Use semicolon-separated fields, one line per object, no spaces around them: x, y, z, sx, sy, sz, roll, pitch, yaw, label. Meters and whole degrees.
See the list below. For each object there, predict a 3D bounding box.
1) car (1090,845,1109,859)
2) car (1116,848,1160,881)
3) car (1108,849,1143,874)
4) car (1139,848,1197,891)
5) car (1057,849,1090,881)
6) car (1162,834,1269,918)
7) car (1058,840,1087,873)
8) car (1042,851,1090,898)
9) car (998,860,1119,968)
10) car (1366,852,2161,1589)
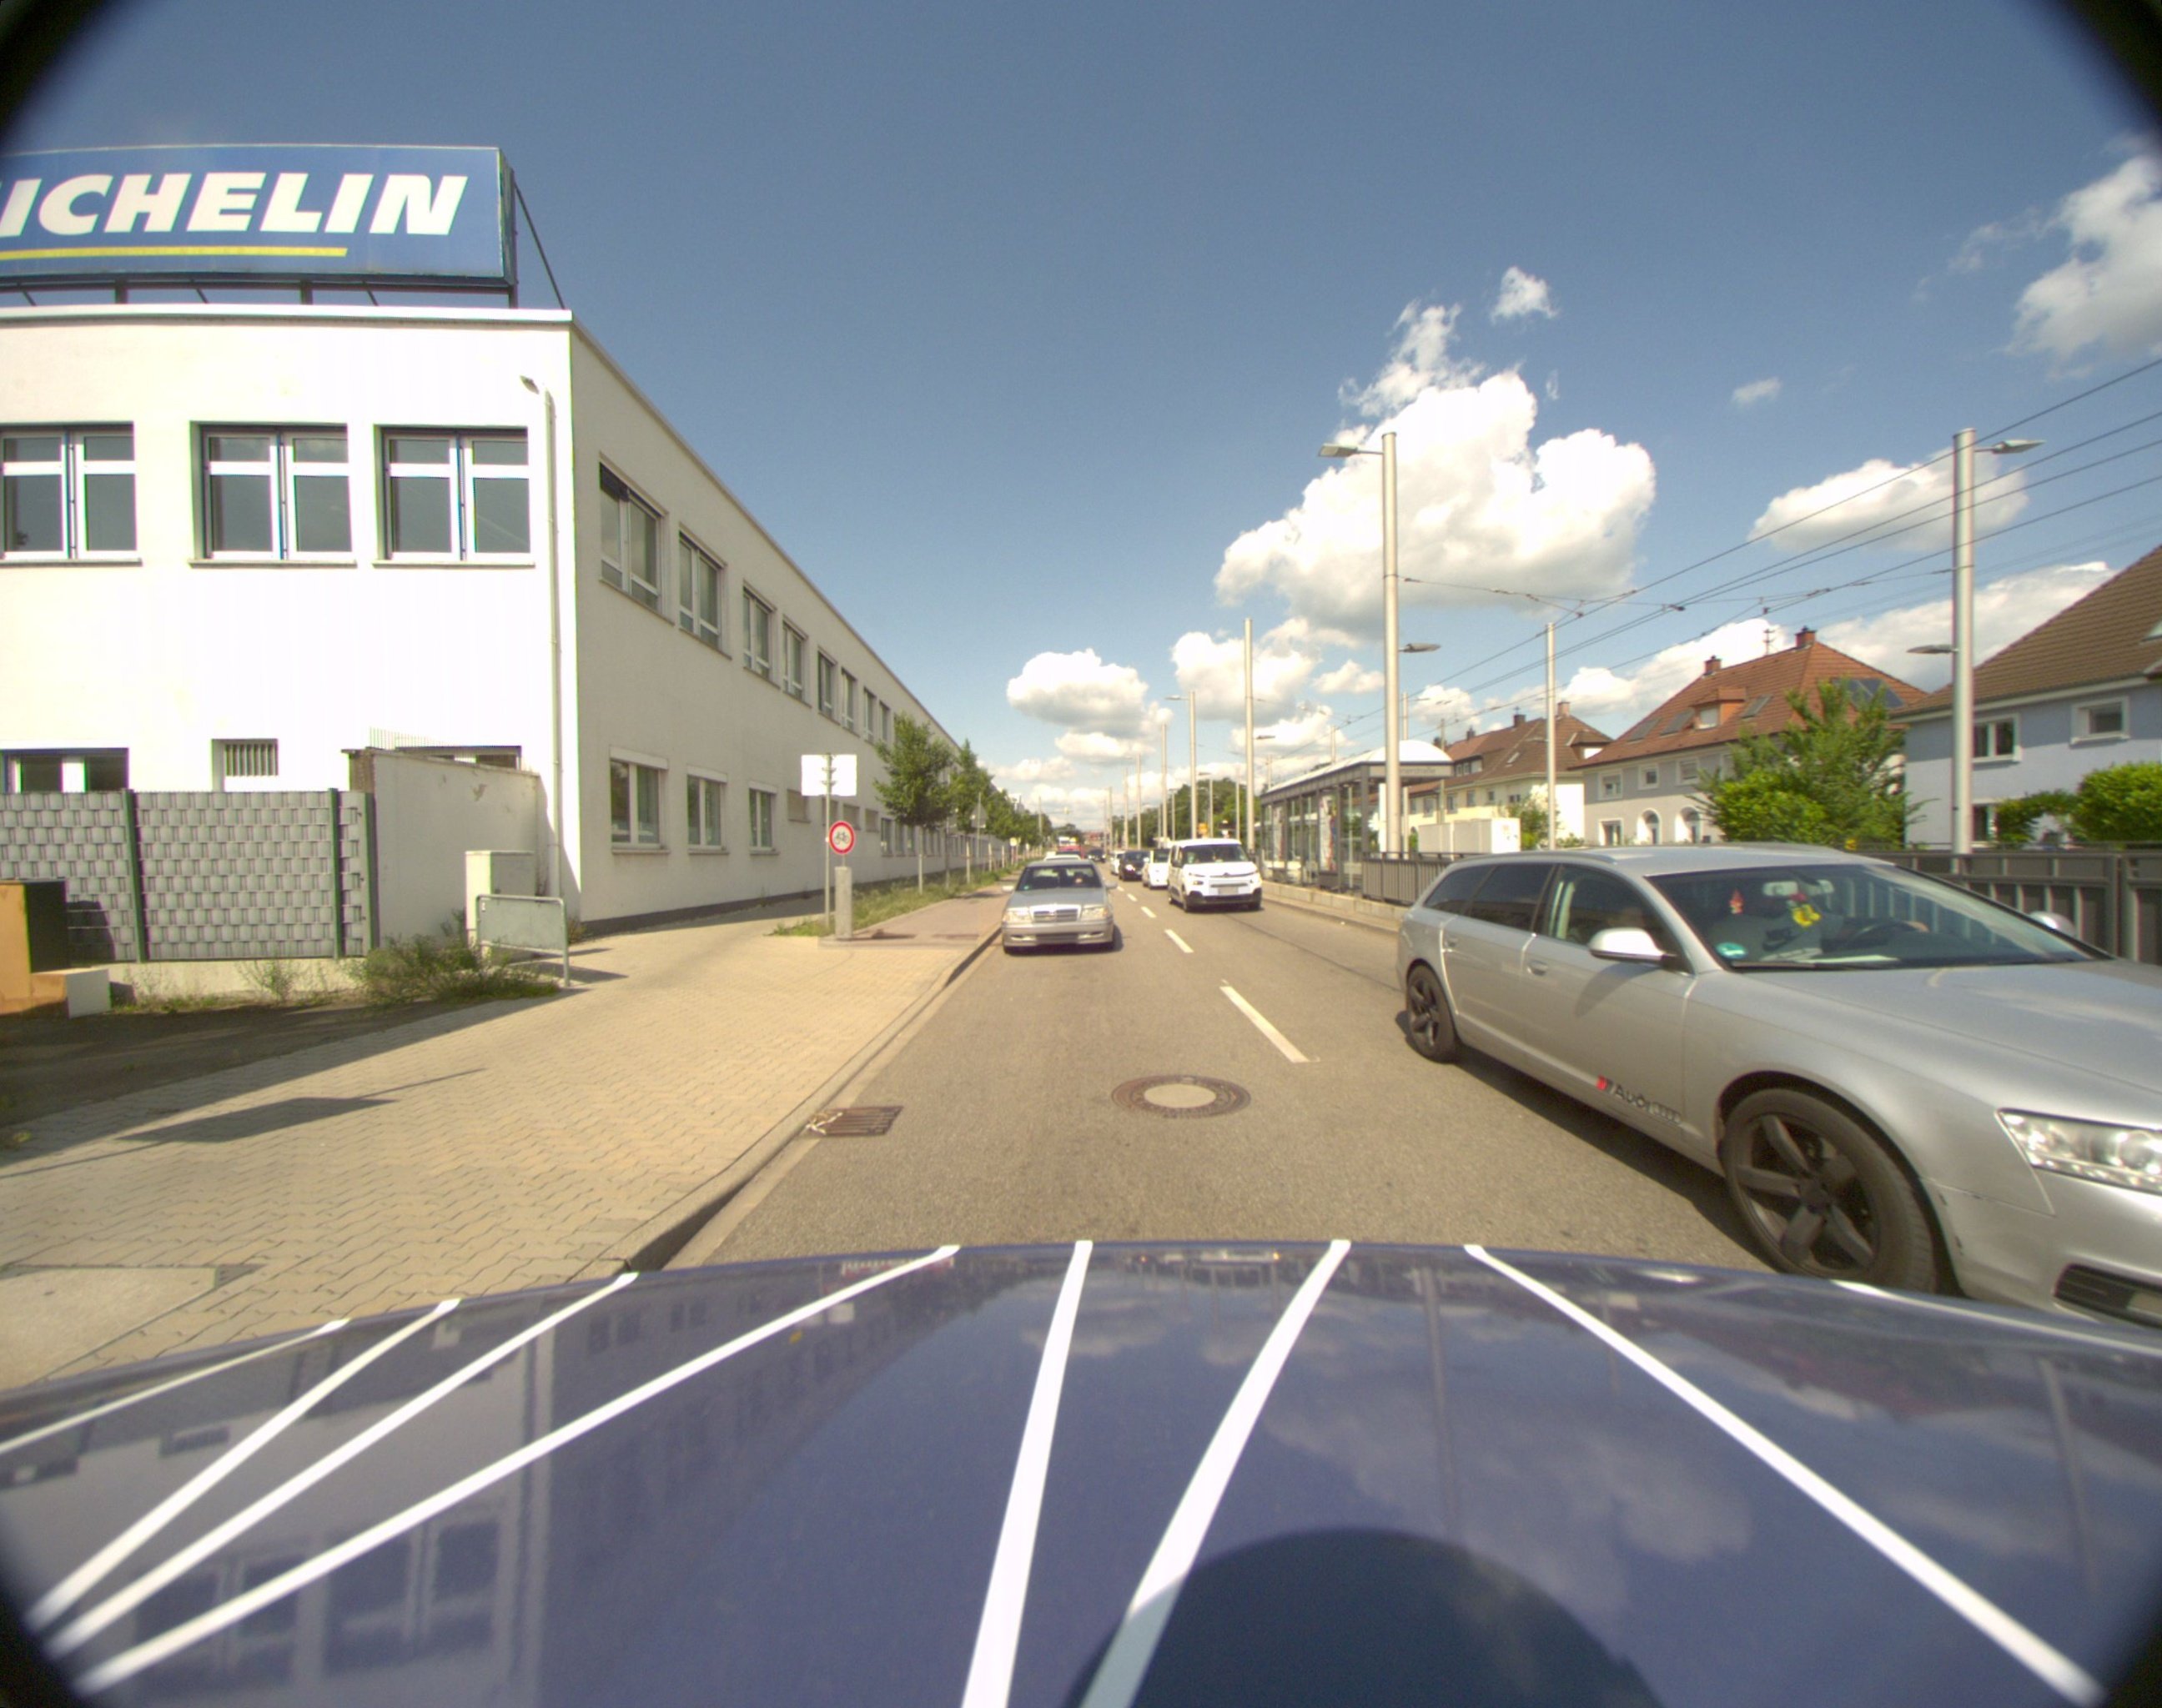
1.973;-0.268;81.756;1.698;1.350;4.497;-2;1;-1;car
2.779;0.484;37.652;1.680;1.414;3.557;-2;1;-3;car
2.682;0.398;46.733;1.698;1.350;4.497;-2;1;-1;car
3.331;0.558;29.652;1.680;1.495;3.392;-2;1;-3;car
-0.456;0.562;41.858;1.664;1.530;3.999;-2;1;-1;car
3.252;0.462;19.149;1.799;1.805;4.328;-2;1;-1;car
-0.596;0.121;52.232;1.787;2.135;5.168;-2;1;-1;car
-0.572;0.733;29.125;1.664;1.564;3.999;-2;1;-1;car
-0.375;0.899;13.348;1.725;1.389;4.461;-2;1;-1;car
3.200;0.792;3.672;1.799;1.463;4.720;-2;1;0;car
